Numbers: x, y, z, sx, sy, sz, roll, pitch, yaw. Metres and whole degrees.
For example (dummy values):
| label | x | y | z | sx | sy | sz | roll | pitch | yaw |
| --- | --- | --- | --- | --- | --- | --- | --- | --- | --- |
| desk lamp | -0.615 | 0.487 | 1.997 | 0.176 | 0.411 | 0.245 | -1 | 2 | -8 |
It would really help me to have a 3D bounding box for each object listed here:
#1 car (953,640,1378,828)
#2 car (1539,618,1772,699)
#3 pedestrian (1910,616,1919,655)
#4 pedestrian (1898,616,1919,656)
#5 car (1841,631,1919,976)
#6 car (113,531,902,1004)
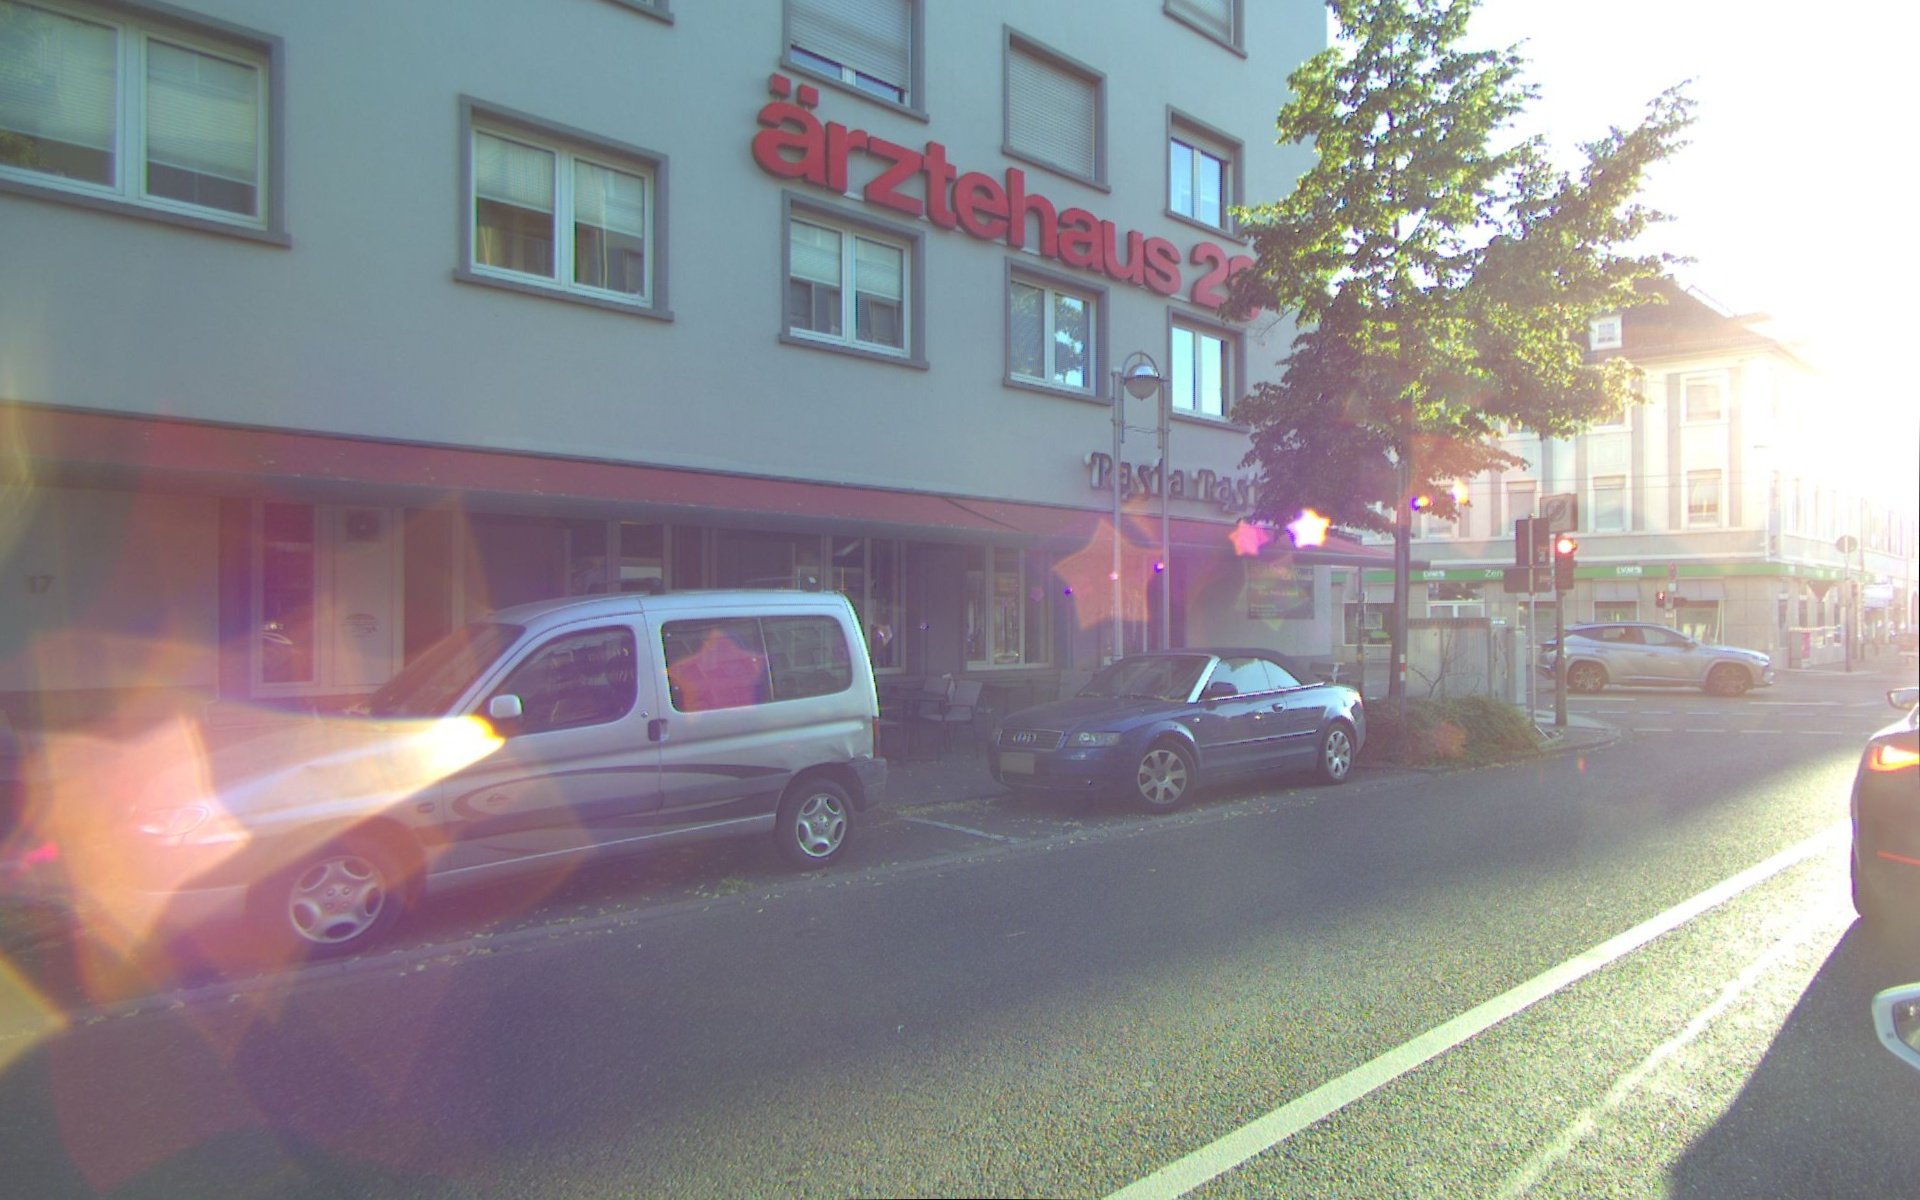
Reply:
| label | x | y | z | sx | sy | sz | roll | pitch | yaw |
| --- | --- | --- | --- | --- | --- | --- | --- | --- | --- |
| car | 2.118 | 1.123 | 9.697 | 4.244 | 1.434 | 1.710 | 2 | -4 | -39 |
| car | 15.953 | 1.281 | 23.342 | 4.212 | 1.730 | 1.803 | 0 | -1 | 27 |
| pedestrian | 46.957 | 1.742 | 49.149 | 0.673 | 1.901 | 0.610 | 1 | 0 | -42 |
| pedestrian | 45.850 | 1.717 | 48.543 | 0.626 | 1.901 | 0.638 | 1 | 0 | -38 |
| car | 6.059 | 0.904 | 5.108 | 4.188 | 1.447 | 1.723 | 1 | -1 | -39 |
| car | -2.444 | 0.761 | 6.042 | 4.022 | 1.912 | 1.655 | 2 | -4 | -41 |
